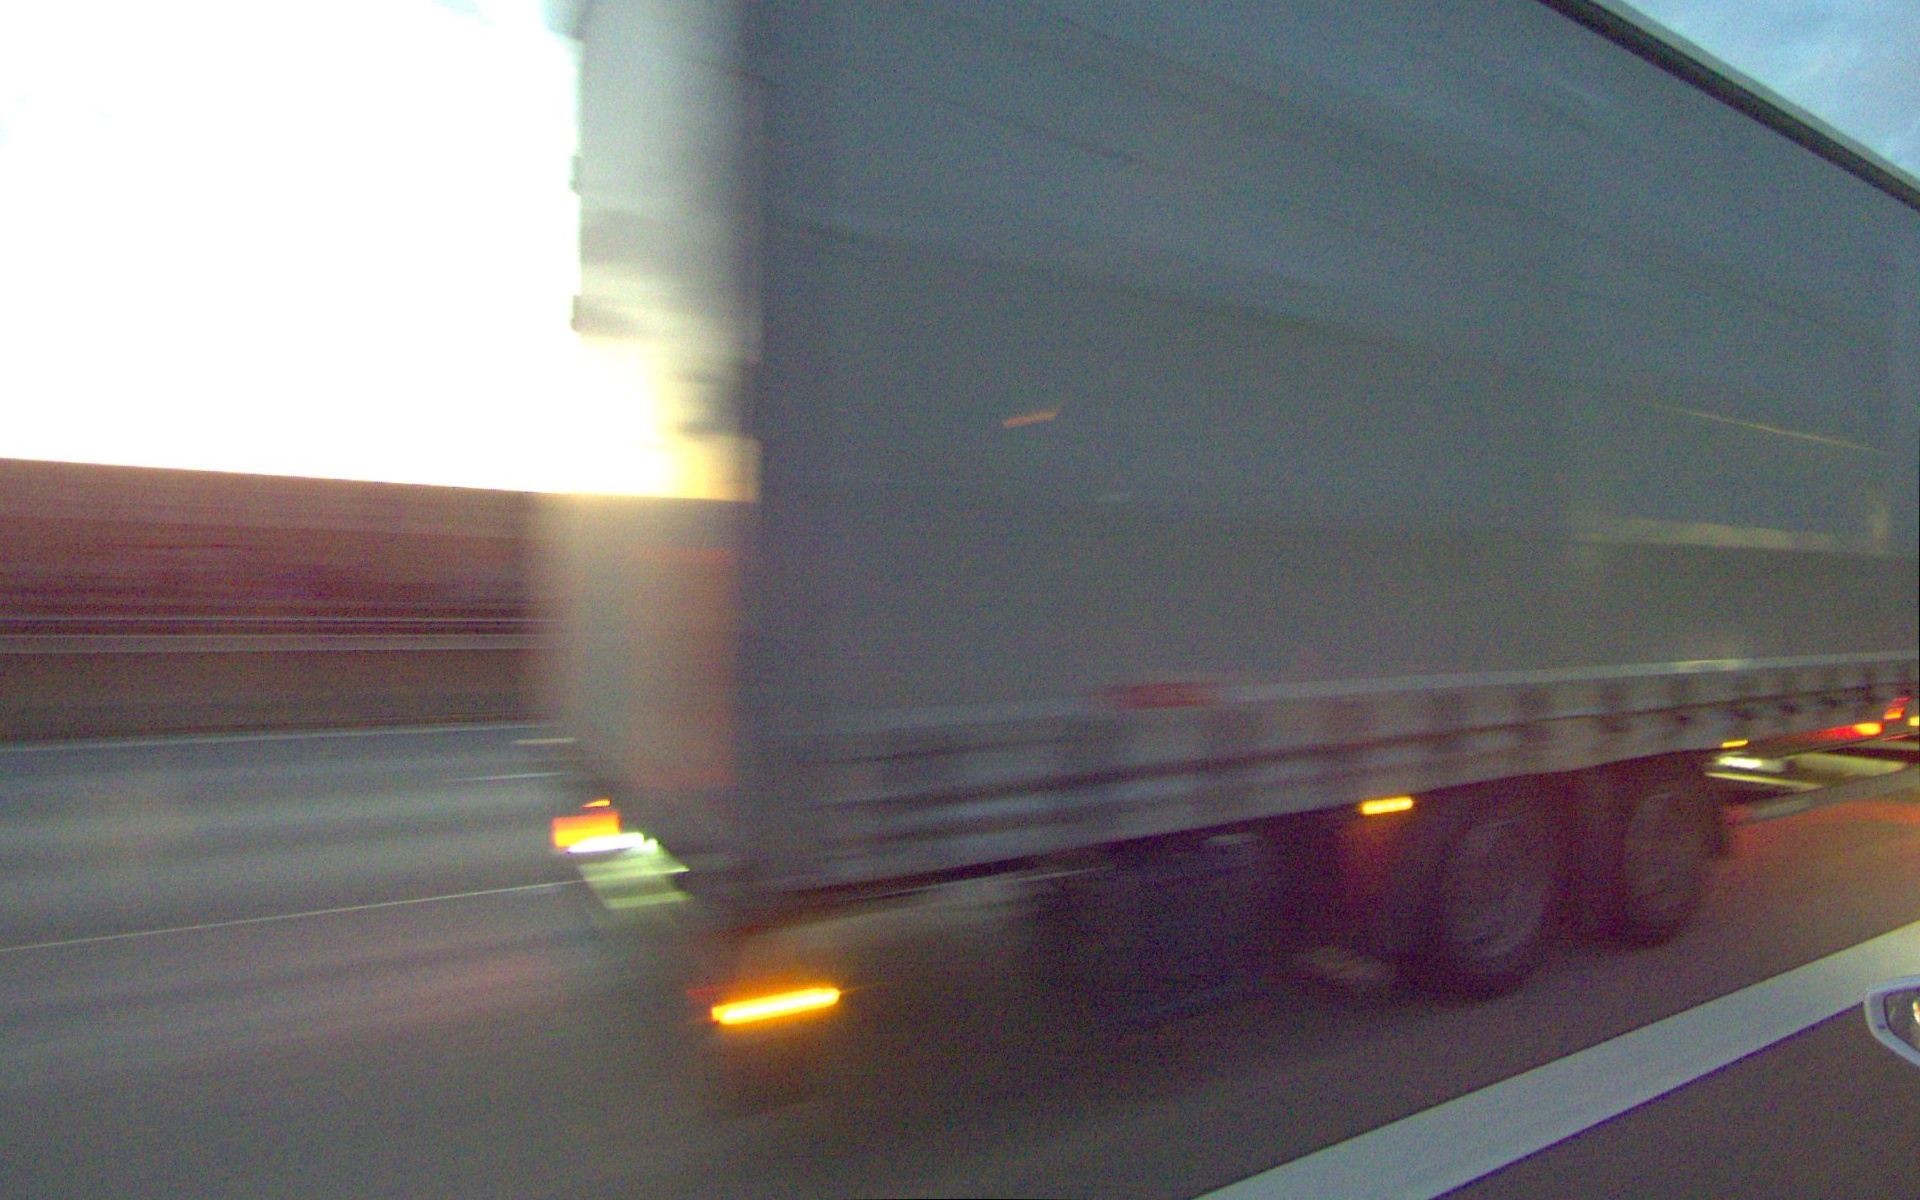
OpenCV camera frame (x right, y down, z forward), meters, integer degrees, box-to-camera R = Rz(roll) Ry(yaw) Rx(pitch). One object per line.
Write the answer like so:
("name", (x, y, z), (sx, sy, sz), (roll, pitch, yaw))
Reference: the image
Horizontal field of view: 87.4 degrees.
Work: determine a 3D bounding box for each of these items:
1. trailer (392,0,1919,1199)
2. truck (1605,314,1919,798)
("trailer", (4.548, -0.446, 7.195), (14.893, 4.171, 3.531), (1, 0, -32))
("truck", (10.420, -0.318, 10.832), (6.082, 4.145, 3.532), (1, 0, -32))
